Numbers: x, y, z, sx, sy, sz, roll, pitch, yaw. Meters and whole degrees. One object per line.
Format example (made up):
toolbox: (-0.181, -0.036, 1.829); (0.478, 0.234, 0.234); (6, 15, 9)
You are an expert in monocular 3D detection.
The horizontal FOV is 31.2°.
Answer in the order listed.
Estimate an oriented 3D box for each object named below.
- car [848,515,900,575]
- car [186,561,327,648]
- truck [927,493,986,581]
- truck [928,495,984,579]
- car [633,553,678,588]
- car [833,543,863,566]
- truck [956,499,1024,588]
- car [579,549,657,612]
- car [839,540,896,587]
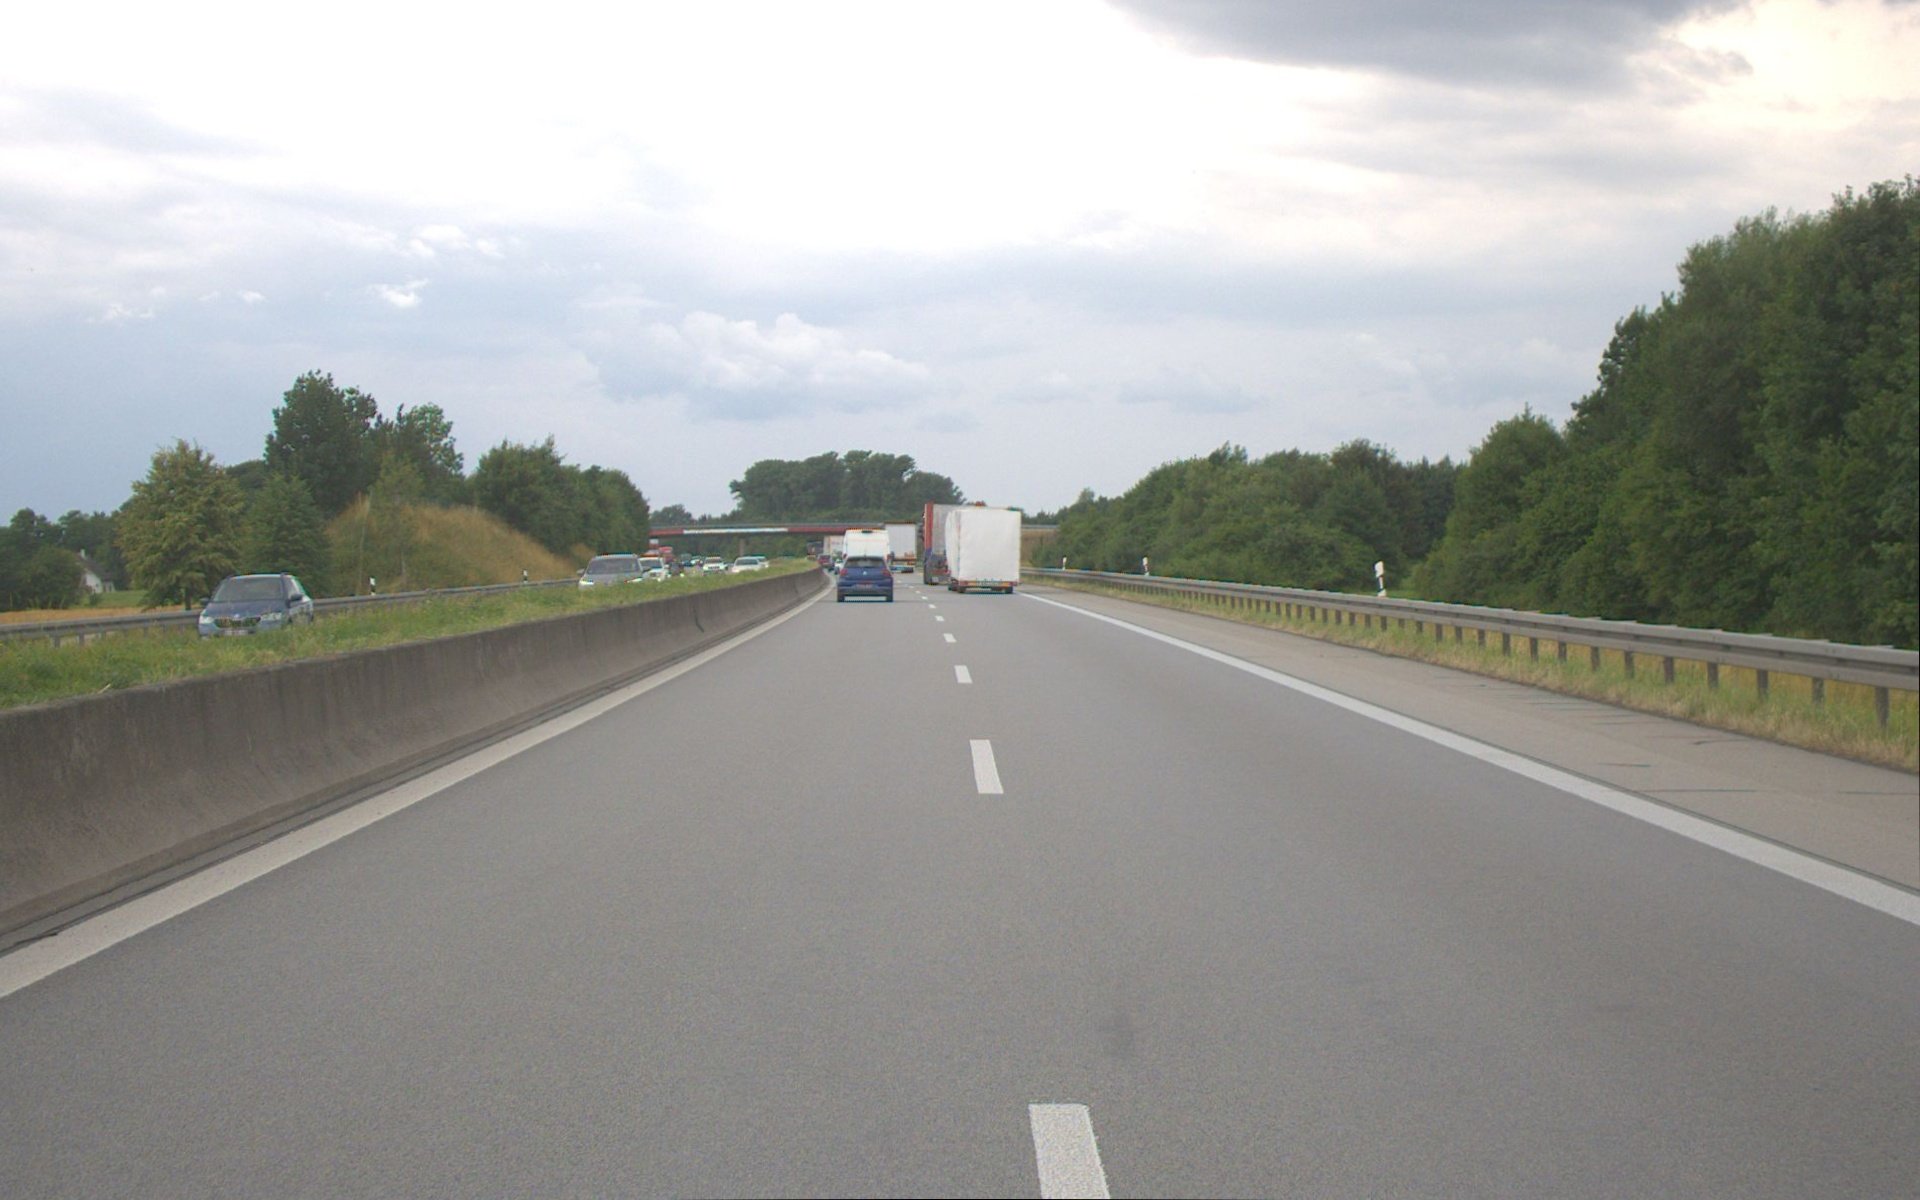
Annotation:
car: (-3.664, -2.321, 146.396); (2.130, 2.474, 5.840); (-1, 1, -1)
car: (-13.242, 0.052, 64.933); (1.746, 1.482, 4.530); (-3, 1, -1)
truck: (-0.173, -3.022, 165.114); (2.673, 4.032, 11.108); (-1, 1, 0)
truck: (-0.195, -3.134, 170.532); (2.673, 4.032, 5.512); (-1, 1, 0)
car: (-14.768, -1.442, 166.882); (1.836, 1.621, 4.691); (-2, 1, -1)
car: (-8.270, -3.355, 254.082); (1.993, 1.678, 4.001); (0, 1, -5)
truck: (1.082, -2.068, 128.070); (2.415, 3.211, 7.144); (0, 1, 0)
car: (-9.750, -0.567, 98.311); (1.841, 1.688, 4.358); (-2, 1, -1)
car: (-2.833, -1.114, 104.916); (1.663, 1.402, 3.649); (0, 1, -3)
